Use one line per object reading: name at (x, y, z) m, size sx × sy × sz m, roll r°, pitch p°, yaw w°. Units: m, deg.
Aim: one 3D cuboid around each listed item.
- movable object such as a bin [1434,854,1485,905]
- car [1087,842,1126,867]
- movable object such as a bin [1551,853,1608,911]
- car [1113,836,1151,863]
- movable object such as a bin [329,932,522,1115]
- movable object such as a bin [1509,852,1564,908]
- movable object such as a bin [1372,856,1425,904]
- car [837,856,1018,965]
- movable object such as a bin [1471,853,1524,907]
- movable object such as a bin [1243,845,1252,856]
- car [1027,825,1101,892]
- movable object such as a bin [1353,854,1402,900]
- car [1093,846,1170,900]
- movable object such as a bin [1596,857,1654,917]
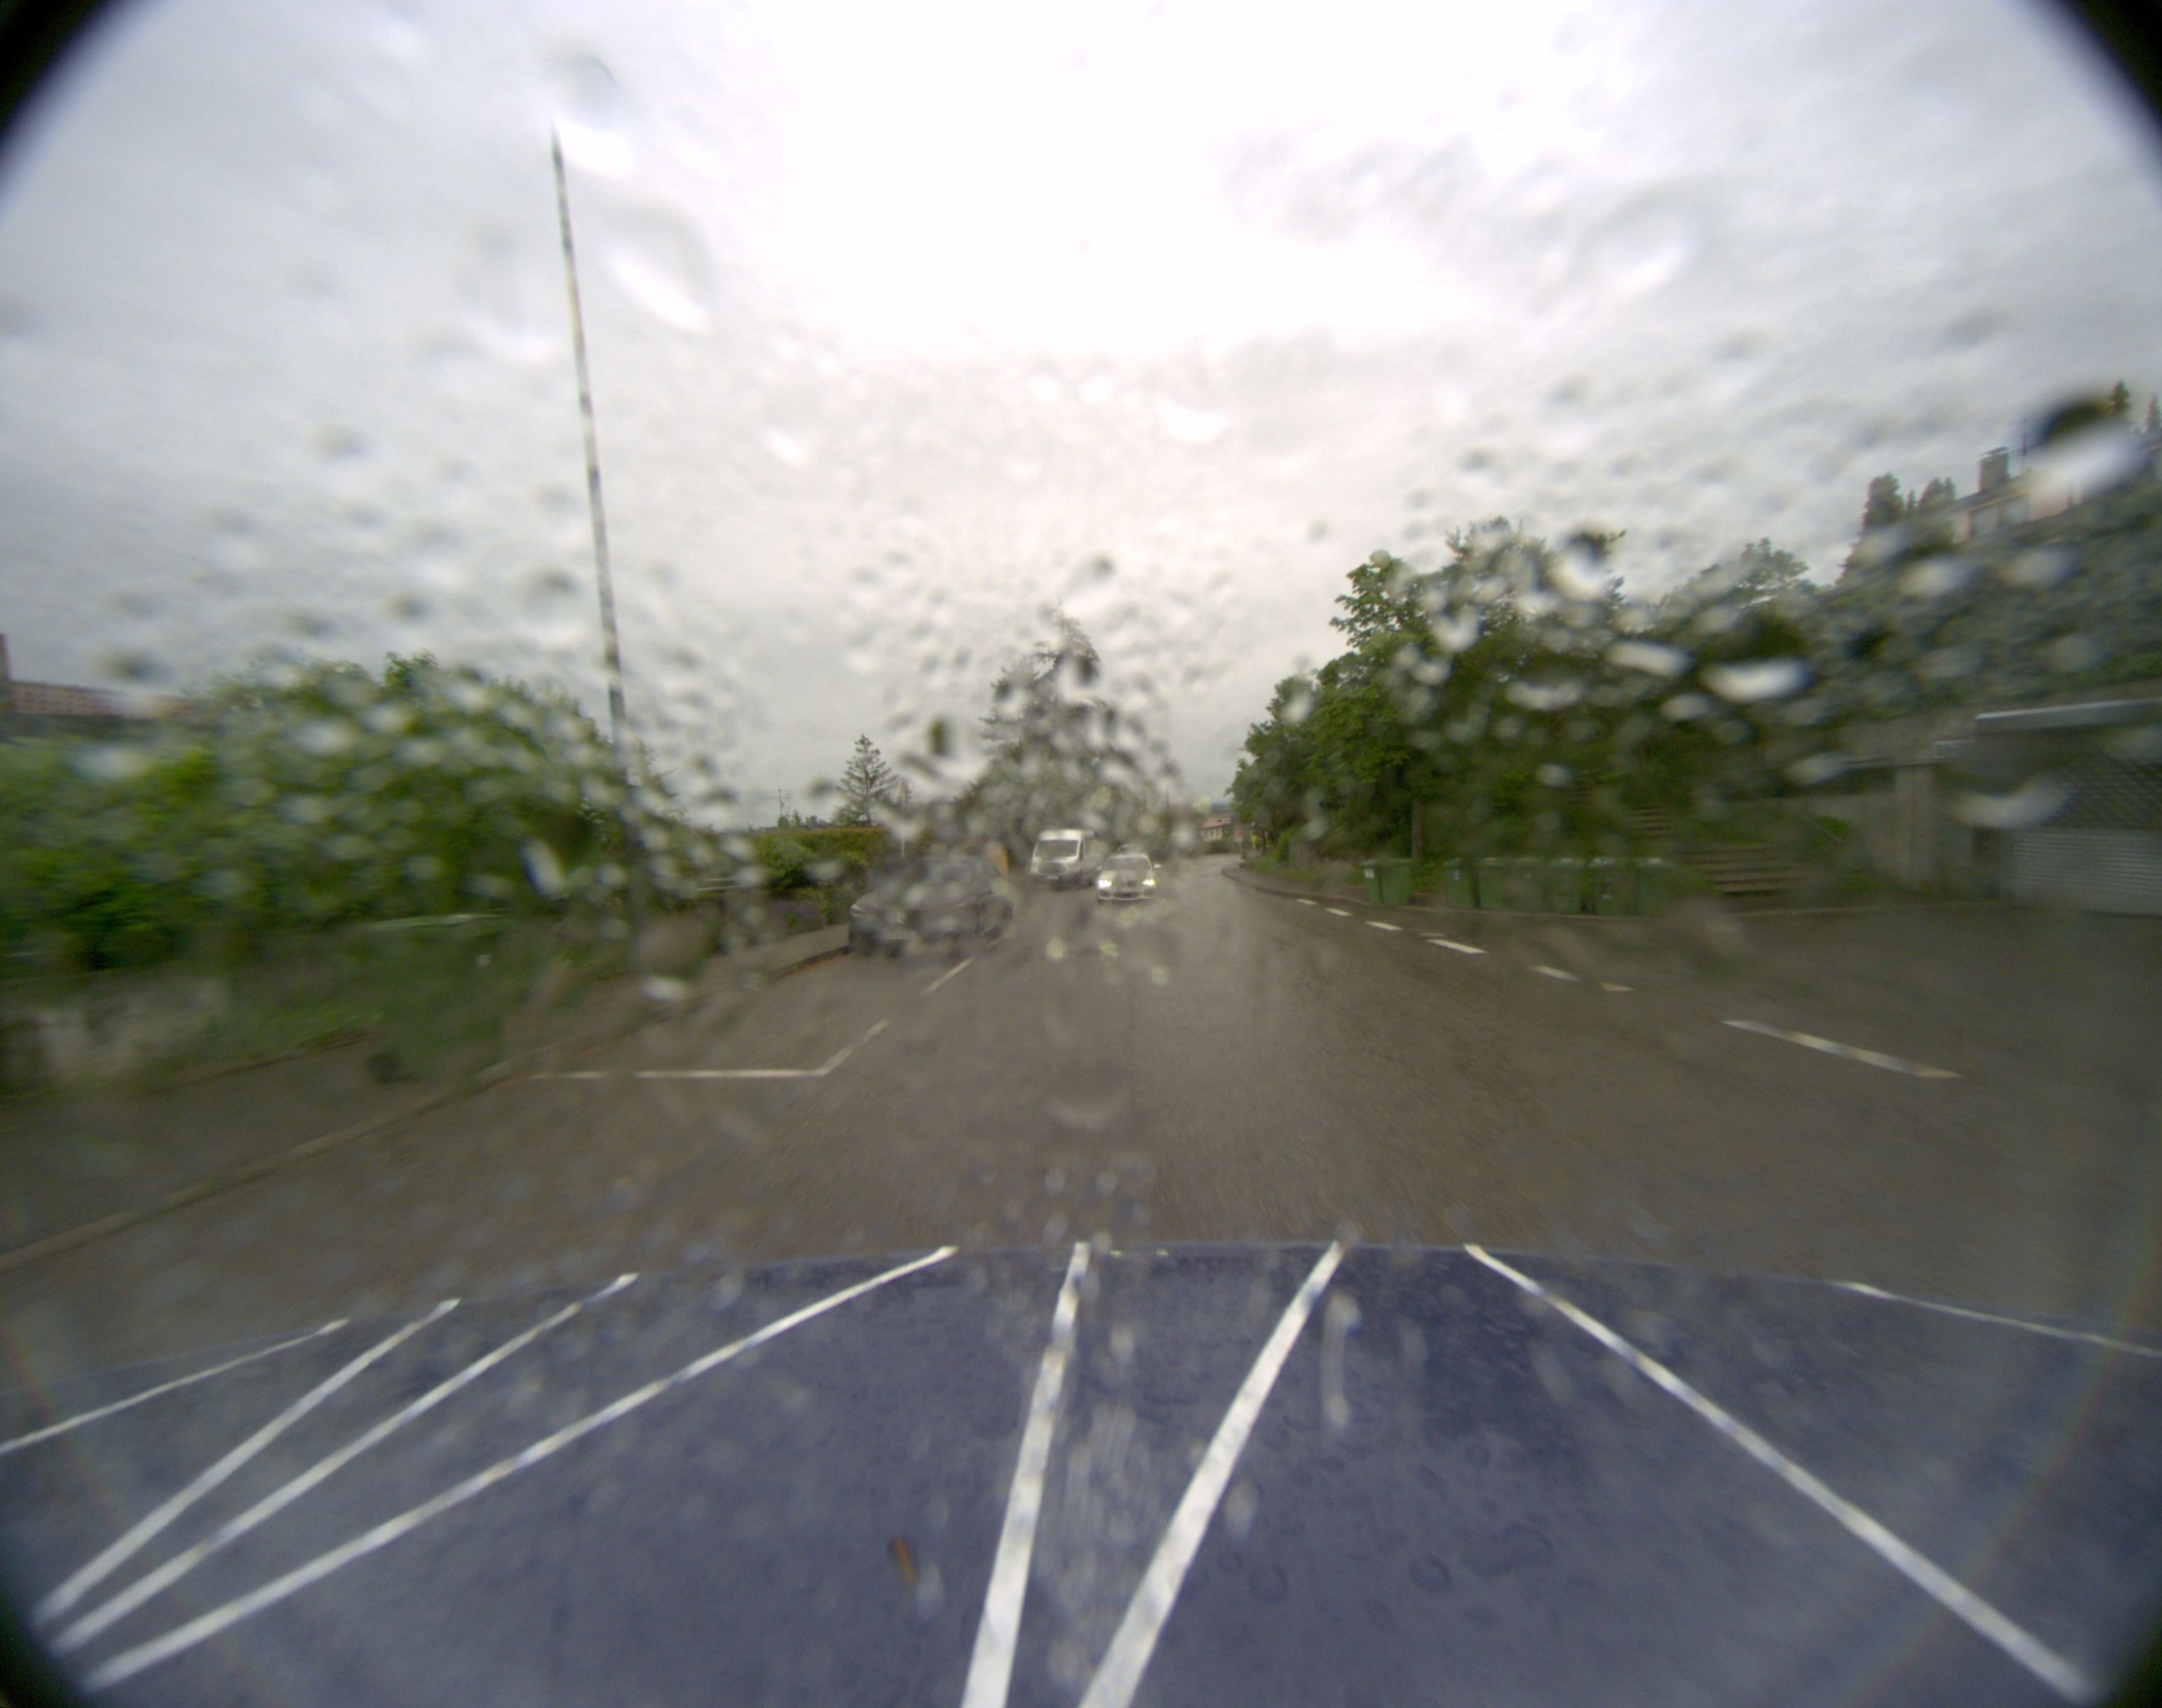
movable object such as a bin at (8.152, 0.543, 16.354) m, size 0.781 × 1.022 × 0.717 m, roll -6°, pitch 3°, yaw -43°
car at (1.658, -0.006, 48.101) m, size 1.752 × 1.415 × 4.003 m, roll -1°, pitch 1°, yaw 12°
movable object such as a bin at (9.664, 0.539, 14.724) m, size 0.781 × 1.022 × 0.717 m, roll -6°, pitch 3°, yaw -43°
car at (3.696, -0.347, 54.011) m, size 1.868 × 1.808 × 4.866 m, roll -1°, pitch 1°, yaw 14°
movable object such as a bin at (-4.334, 1.098, 5.072) m, size 0.677 × 1.061 × 0.645 m, roll -2°, pitch 1°, yaw 3°
movable object such as a bin at (9.156, 0.512, 15.271) m, size 0.781 × 1.022 × 0.717 m, roll -6°, pitch 3°, yaw -43°
movable object such as a bin at (7.325, 0.582, 17.543) m, size 0.780 × 1.022 × 0.718 m, roll -5°, pitch 2°, yaw -20°
car at (-2.473, 0.839, 13.681) m, size 1.861 × 1.518 × 5.064 m, roll 0°, pitch 1°, yaw 4°
movable object such as a bin at (8.660, 0.535, 15.811) m, size 0.781 × 1.022 × 0.717 m, roll -6°, pitch 3°, yaw -43°
movable object such as a bin at (16.216, -0.324, 73.921) m, size 0.880 × 1.024 × 0.804 m, roll -1°, pitch 1°, yaw 14°
car at (-0.584, 0.106, 32.400) m, size 2.076 × 2.535 × 6.184 m, roll -1°, pitch 1°, yaw 8°
movable object such as a bin at (7.113, 0.544, 18.253) m, size 0.780 × 1.022 × 0.718 m, roll -5°, pitch 2°, yaw -20°
car at (1.629, 0.520, 23.290) m, size 1.796 × 1.455 × 4.003 m, roll -1°, pitch 1°, yaw 12°
movable object such as a bin at (10.158, 0.600, 14.185) m, size 0.781 × 1.022 × 0.717 m, roll -6°, pitch 3°, yaw -43°
